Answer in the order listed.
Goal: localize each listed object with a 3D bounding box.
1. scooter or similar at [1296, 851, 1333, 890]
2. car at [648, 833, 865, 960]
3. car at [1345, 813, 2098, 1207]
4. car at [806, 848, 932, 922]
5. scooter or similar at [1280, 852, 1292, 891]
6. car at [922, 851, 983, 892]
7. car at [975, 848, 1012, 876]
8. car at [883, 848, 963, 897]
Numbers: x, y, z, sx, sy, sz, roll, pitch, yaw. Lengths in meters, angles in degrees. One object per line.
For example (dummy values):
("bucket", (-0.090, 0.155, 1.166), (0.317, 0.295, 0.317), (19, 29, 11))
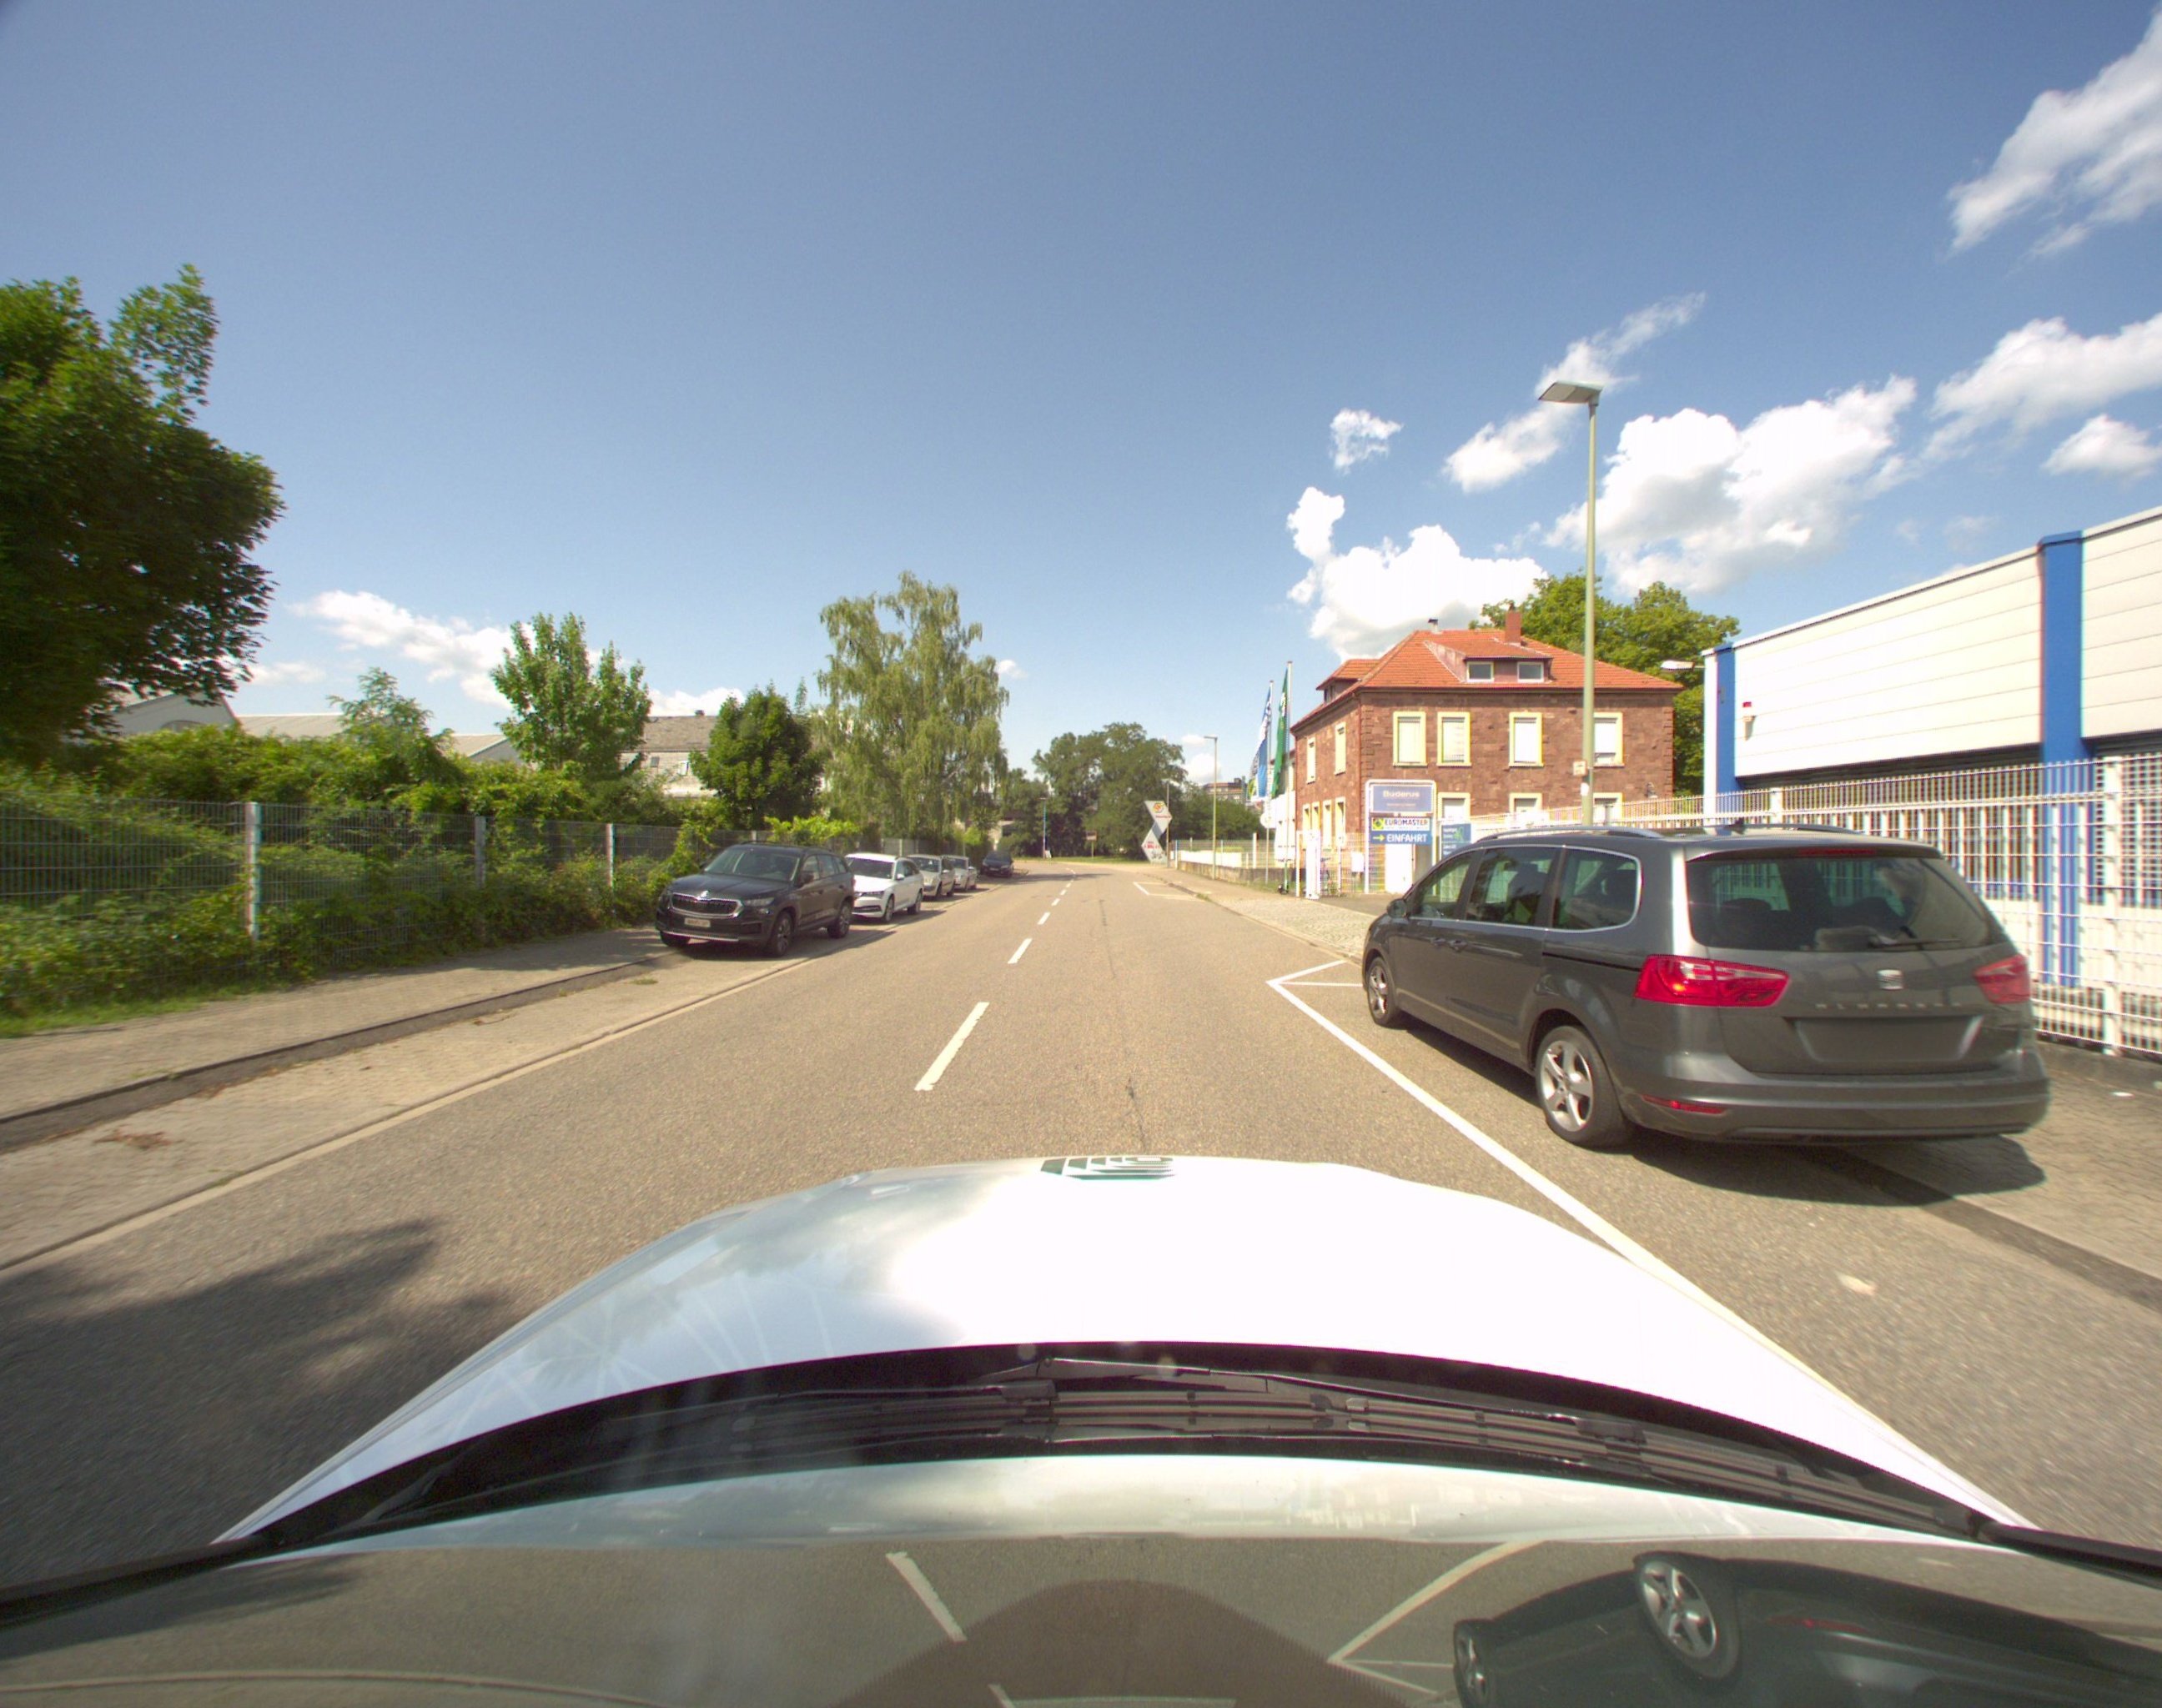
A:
("scooter or similar", (7.696, 0.547, 26.824), (1.137, 1.245, 0.260), (-1, 0, 18))
("car", (-5.207, 0.579, 13.839), (1.604, 1.745, 4.639), (2, 1, 2))
("car", (3.464, 0.641, 5.745), (1.818, 1.664, 4.557), (-1, 1, 1))
("car", (-5.032, 0.647, 20.031), (1.694, 1.595, 4.789), (0, 1, 1))
("scooter or similar", (6.918, 0.595, 27.471), (0.332, 1.312, 0.366), (0, 0, 0))
("car", (-5.333, 0.665, 34.332), (1.718, 1.477, 4.631), (4, 0, 0))
("car", (-5.165, 0.466, 48.612), (1.677, 1.512, 4.156), (4, 0, 0))
("car", (-5.379, 0.569, 28.328), (1.788, 1.527, 4.660), (0, 1, 1))
